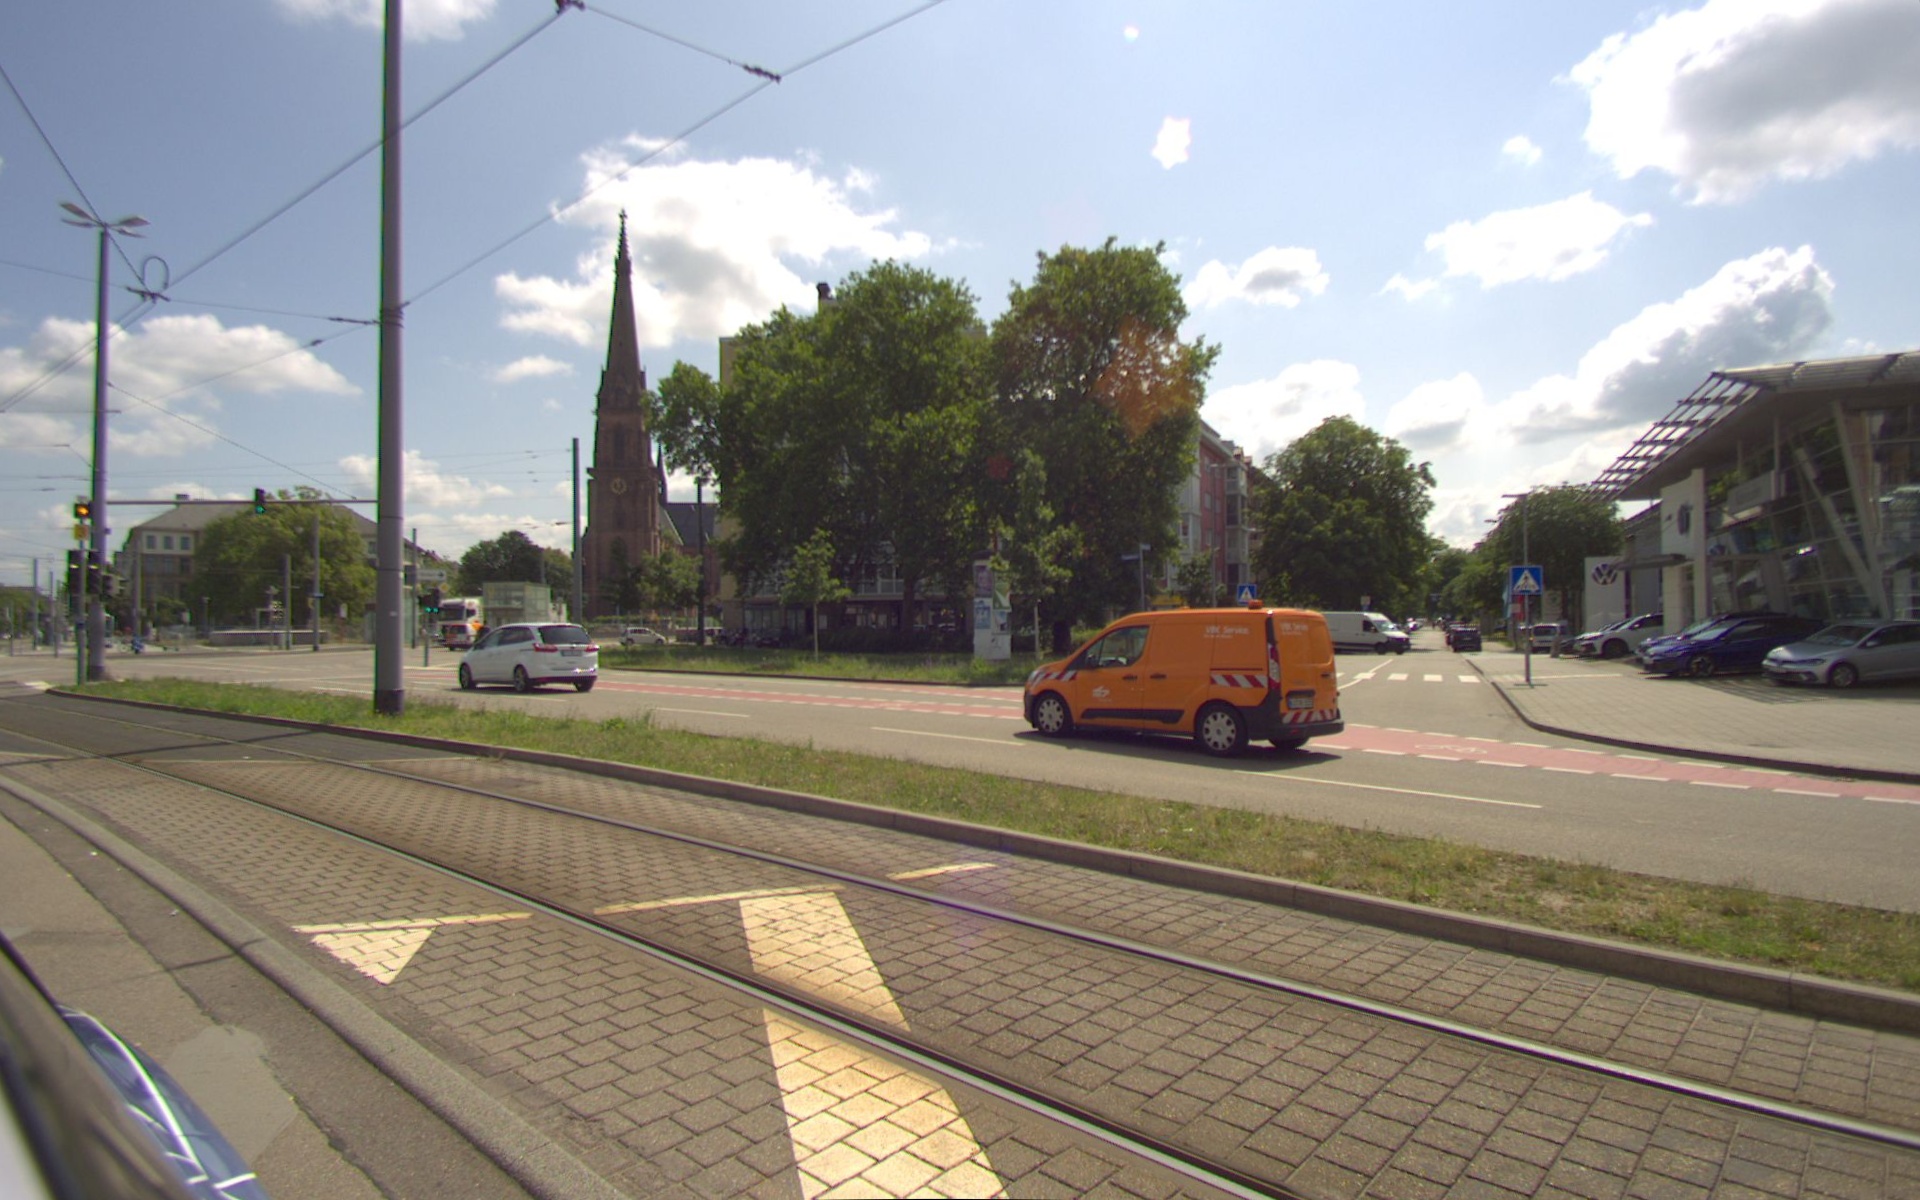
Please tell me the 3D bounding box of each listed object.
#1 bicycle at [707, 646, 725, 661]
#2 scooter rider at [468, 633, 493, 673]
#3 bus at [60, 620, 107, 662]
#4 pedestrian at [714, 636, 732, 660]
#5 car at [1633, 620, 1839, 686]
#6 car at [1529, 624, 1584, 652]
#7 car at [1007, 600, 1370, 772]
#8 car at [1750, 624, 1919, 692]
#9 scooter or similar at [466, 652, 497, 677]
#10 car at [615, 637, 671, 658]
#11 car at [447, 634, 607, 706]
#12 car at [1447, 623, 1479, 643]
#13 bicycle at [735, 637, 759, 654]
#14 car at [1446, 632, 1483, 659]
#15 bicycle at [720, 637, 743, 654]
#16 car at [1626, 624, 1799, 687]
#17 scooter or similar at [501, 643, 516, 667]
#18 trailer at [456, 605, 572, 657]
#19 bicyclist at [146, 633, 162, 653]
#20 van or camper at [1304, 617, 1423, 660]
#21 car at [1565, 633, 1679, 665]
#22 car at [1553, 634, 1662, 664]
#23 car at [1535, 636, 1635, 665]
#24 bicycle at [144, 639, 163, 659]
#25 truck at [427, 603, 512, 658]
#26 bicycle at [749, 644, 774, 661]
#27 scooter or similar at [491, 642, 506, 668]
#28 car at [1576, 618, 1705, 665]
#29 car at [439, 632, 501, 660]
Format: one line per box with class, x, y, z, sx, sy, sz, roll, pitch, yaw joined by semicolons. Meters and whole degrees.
bicycle;-18.640;4.070;77.257;1.257;1.154;0.459;-1;-2;3
scooter rider;-20.696;2.290;43.713;0.648;1.720;0.770;-2;-2;37
bus;-75.291;3.552;86.936;2.906;3.474;7.958;1;-3;-41
pedestrian;-15.339;3.108;65.490;0.871;1.572;0.720;-2;-3;15
car;19.943;1.366;26.182;3.752;1.485;1.653;-4;-2;14
car;36.247;2.276;61.451;2.000;1.630;3.942;-2;-2;44
car;2.843;1.051;13.376;1.888;1.880;4.371;3;-4;-43
car;20.690;1.299;23.025;3.893;1.458;1.834;-1;-2;2
scooter or similar;-20.650;2.786;43.662;1.091;1.040;0.796;-2;-2;37
car;-25.666;3.831;81.995;4.103;1.655;1.633;1;-3;-35
car;-10.669;1.674;24.796;4.489;1.616;1.749;-2;-4;40
car;43.088;2.827;86.634;1.994;1.630;3.956;-2;-2;32
bicycle;-14.949;3.205;71.099;1.583;1.176;0.492;-1;-2;7
car;33.979;3.026;68.120;1.991;1.697;3.961;-4;-4;28
bicycle;-16.854;3.368;74.723;1.583;1.274;0.492;-1;-2;7
car;21.408;1.558;28.889;3.586;1.685;1.777;-1;-2;-2
scooter or similar;-21.517;2.622;48.215;0.555;1.133;0.411;-2;-3;36
trailer;-38.296;2.658;87.654;2.913;4.107;13.392;-1;-2;6
bicyclist;-82.627;4.393;103.748;1.109;2.029;1.321;3;-4;-43
van or camper;25.123;2.405;63.316;2.536;2.518;6.701;1;-2;-32
car;27.312;2.032;41.887;3.610;1.255;1.548;-1;-2;19
car;28.090;2.144;44.015;3.605;1.255;1.550;-1;-2;15
car;28.818;2.321;46.756;3.605;1.255;1.550;-1;-2;15
bicycle;-82.568;5.032;103.651;1.229;2.029;3.487;1;-3;-43
truck;-39.037;2.448;80.835;2.928;4.150;6.864;-1;-2;7
bicycle;-13.266;3.499;67.722;1.583;1.074;0.492;-1;-2;7
scooter or similar;-21.744;2.581;47.661;0.548;1.209;0.457;-2;-3;36
car;26.408;1.617;39.428;3.841;1.788;1.687;-1;-2;24
car;-32.534;3.045;67.334;1.750;1.779;4.232;-1;-2;7
